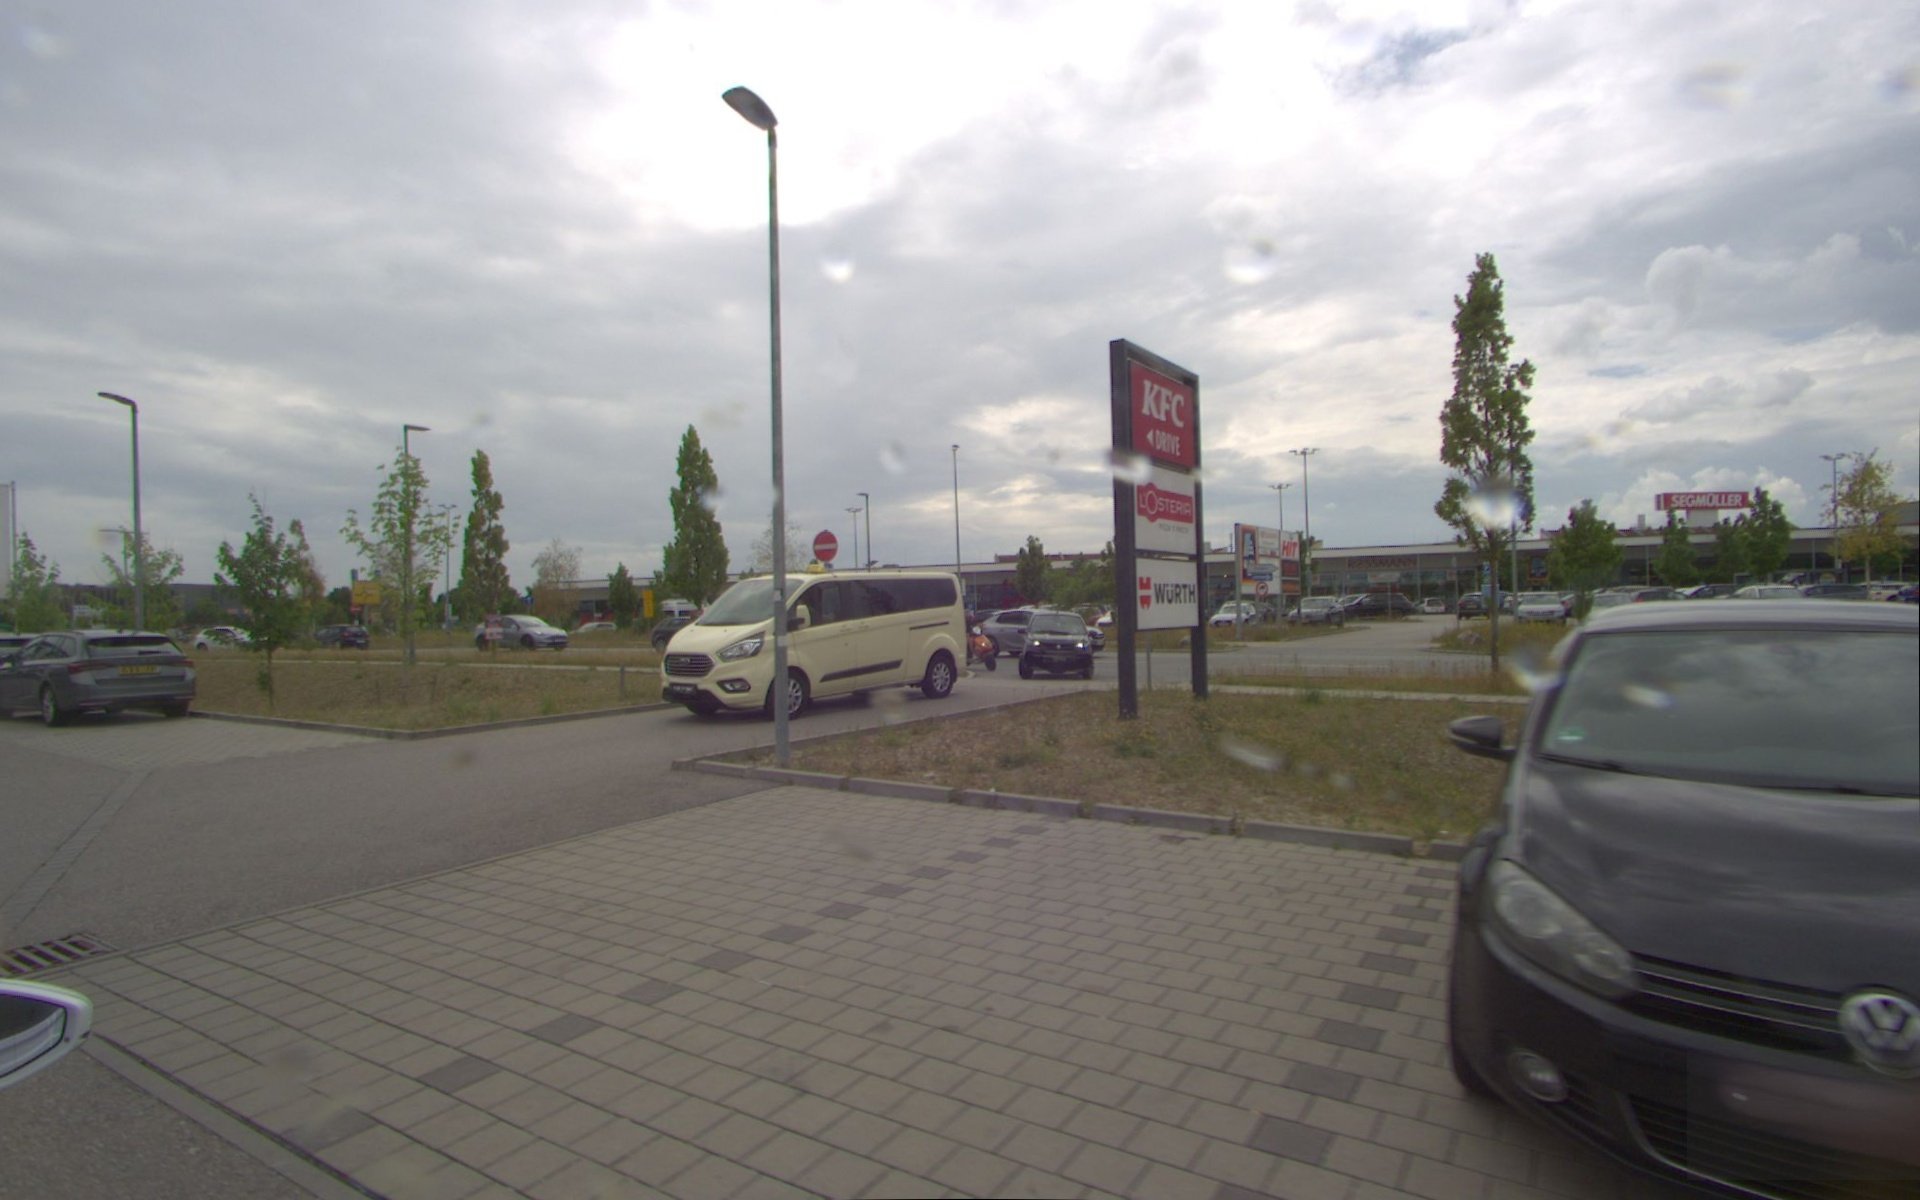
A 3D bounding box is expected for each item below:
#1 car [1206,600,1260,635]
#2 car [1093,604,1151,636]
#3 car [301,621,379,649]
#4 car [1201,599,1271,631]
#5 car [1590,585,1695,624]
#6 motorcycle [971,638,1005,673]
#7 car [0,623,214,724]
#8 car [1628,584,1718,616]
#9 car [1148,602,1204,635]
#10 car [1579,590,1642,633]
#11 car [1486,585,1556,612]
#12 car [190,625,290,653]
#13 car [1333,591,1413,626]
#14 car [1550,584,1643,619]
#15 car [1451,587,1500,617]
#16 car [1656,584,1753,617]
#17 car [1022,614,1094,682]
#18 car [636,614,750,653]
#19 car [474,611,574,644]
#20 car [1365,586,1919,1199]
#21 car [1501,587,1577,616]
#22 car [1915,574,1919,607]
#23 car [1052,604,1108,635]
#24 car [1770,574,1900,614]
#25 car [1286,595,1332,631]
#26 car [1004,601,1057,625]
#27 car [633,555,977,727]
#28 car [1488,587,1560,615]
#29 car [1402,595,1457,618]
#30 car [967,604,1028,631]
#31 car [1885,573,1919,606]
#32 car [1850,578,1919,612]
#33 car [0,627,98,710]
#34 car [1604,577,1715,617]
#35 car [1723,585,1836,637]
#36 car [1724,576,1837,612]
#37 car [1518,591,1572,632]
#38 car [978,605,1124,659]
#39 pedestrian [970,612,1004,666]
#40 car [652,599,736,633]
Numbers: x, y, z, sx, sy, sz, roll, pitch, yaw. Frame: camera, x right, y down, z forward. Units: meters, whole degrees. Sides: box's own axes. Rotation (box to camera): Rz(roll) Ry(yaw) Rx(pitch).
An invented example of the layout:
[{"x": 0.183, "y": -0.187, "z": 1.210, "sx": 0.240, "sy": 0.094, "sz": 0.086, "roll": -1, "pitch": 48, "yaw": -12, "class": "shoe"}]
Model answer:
[{"x": 13.702, "y": 0.865, "z": 50.163, "sx": 1.968, "sy": 1.560, "sz": 4.040, "roll": -1, "pitch": 1, "yaw": 25, "class": "car"}, {"x": 8.706, "y": 1.038, "z": 53.599, "sx": 1.836, "sy": 1.521, "sz": 4.055, "roll": -1, "pitch": 1, "yaw": 29, "class": "car"}, {"x": -35.693, "y": 2.025, "z": 57.634, "sx": 4.353, "sy": 1.506, "sz": 1.921, "roll": -1, "pitch": 1, "yaw": 28, "class": "car"}, {"x": 17.241, "y": 0.954, "z": 62.456, "sx": 4.112, "sy": 1.862, "sz": 1.996, "roll": -1, "pitch": 1, "yaw": 18, "class": "car"}, {"x": 35.486, "y": 0.235, "z": 52.180, "sx": 4.112, "sy": 1.862, "sz": 1.996, "roll": -1, "pitch": 1, "yaw": 18, "class": "car"}, {"x": 0.688, "y": 1.383, "z": 25.407, "sx": 0.801, "sy": 0.783, "sz": 2.027, "roll": -2, "pitch": -1, "yaw": 0, "class": "motorcycle"}, {"x": -14.483, "y": 1.159, "z": 16.768, "sx": 4.413, "sy": 1.488, "sz": 1.748, "roll": -2, "pitch": -1, "yaw": 33, "class": "car"}, {"x": 44.403, "y": 0.002, "z": 62.438, "sx": 4.112, "sy": 1.862, "sz": 1.996, "roll": -1, "pitch": 1, "yaw": 18, "class": "car"}, {"x": 11.191, "y": 0.931, "z": 51.662, "sx": 1.968, "sy": 1.560, "sz": 4.040, "roll": -1, "pitch": 1, "yaw": 25, "class": "car"}, {"x": 26.357, "y": 0.431, "z": 40.682, "sx": 1.744, "sy": 1.560, "sz": 4.037, "roll": -1, "pitch": 1, "yaw": 28, "class": "car"}, {"x": 41.096, "y": -0.136, "z": 73.419, "sx": 4.112, "sy": 1.862, "sz": 1.996, "roll": -1, "pitch": 1, "yaw": 18, "class": "car"}, {"x": -37.949, "y": 2.054, "z": 52.812, "sx": 4.473, "sy": 1.413, "sz": 1.767, "roll": -1, "pitch": 0, "yaw": 13, "class": "car"}, {"x": 23.826, "y": 0.475, "z": 57.887, "sx": 4.112, "sy": 1.862, "sz": 1.996, "roll": -1, "pitch": 1, "yaw": 18, "class": "car"}, {"x": 36.386, "y": 0.078, "z": 57.370, "sx": 4.112, "sy": 1.862, "sz": 1.996, "roll": -1, "pitch": 1, "yaw": 18, "class": "car"}, {"x": 29.399, "y": 0.097, "z": 57.024, "sx": 1.973, "sy": 1.560, "sz": 4.133, "roll": -1, "pitch": 1, "yaw": 35, "class": "car"}, {"x": 43.342, "y": 0.027, "z": 58.379, "sx": 4.112, "sy": 1.863, "sz": 1.996, "roll": -1, "pitch": 1, "yaw": 18, "class": "car"}, {"x": 2.184, "y": 1.007, "z": 22.054, "sx": 1.438, "sy": 1.354, "sz": 3.162, "roll": -1, "pitch": 0, "yaw": 7, "class": "car"}, {"x": -10.212, "y": 1.274, "z": 38.270, "sx": 4.156, "sy": 1.413, "sz": 1.761, "roll": -1, "pitch": 0, "yaw": 30, "class": "car"}, {"x": -19.654, "y": 1.260, "z": 45.111, "sx": 4.490, "sy": 1.413, "sz": 1.761, "roll": -1, "pitch": 0, "yaw": 30, "class": "car"}, {"x": 2.846, "y": 0.699, "z": 3.529, "sx": 1.752, "sy": 1.479, "sz": 4.048, "roll": 0, "pitch": 1, "yaw": 35, "class": "car"}, {"x": 39.247, "y": 0.115, "z": 68.011, "sx": 4.112, "sy": 1.862, "sz": 1.996, "roll": -1, "pitch": 1, "yaw": 18, "class": "car"}, {"x": 53.975, "y": -0.563, "z": 53.359, "sx": 3.928, "sy": 1.796, "sz": 1.996, "roll": -2, "pitch": 1, "yaw": 17, "class": "car"}, {"x": 6.656, "y": 1.048, "z": 55.332, "sx": 1.877, "sy": 1.560, "sz": 4.040, "roll": -1, "pitch": 1, "yaw": 25, "class": "car"}, {"x": 42.249, "y": -0.281, "z": 48.454, "sx": 4.242, "sy": 1.796, "sz": 1.997, "roll": -2, "pitch": 1, "yaw": 16, "class": "car"}, {"x": 16.774, "y": 0.613, "z": 48.035, "sx": 1.744, "sy": 1.560, "sz": 3.750, "roll": -1, "pitch": 1, "yaw": 25, "class": "car"}, {"x": 5.986, "y": 1.106, "z": 84.737, "sx": 4.113, "sy": 1.862, "sz": 1.995, "roll": -1, "pitch": 1, "yaw": 19, "class": "car"}, {"x": -2.073, "y": 0.502, "z": 15.038, "sx": 1.975, "sy": 2.114, "sz": 5.193, "roll": 0, "pitch": 0, "yaw": 37, "class": "car"}, {"x": 40.051, "y": 0.059, "z": 71.228, "sx": 4.112, "sy": 1.862, "sz": 1.996, "roll": -1, "pitch": 1, "yaw": 18, "class": "car"}, {"x": 40.699, "y": 0.567, "z": 86.919, "sx": 4.112, "sy": 1.862, "sz": 1.996, "roll": -1, "pitch": 1, "yaw": 18, "class": "car"}, {"x": 2.766, "y": 1.311, "z": 74.029, "sx": 4.112, "sy": 1.862, "sz": 1.996, "roll": -1, "pitch": 1, "yaw": 18, "class": "car"}, {"x": 54.873, "y": -0.617, "z": 56.119, "sx": 3.928, "sy": 1.796, "sz": 1.996, "roll": -2, "pitch": 1, "yaw": 17, "class": "car"}, {"x": 55.502, "y": -0.317, "z": 58.975, "sx": 4.111, "sy": 1.862, "sz": 1.996, "roll": -1, "pitch": 1, "yaw": 18, "class": "car"}, {"x": -19.163, "y": 1.317, "z": 19.898, "sx": 4.409, "sy": 1.488, "sz": 1.749, "roll": -1, "pitch": -1, "yaw": 30, "class": "car"}, {"x": 34.659, "y": -0.153, "z": 49.750, "sx": 4.112, "sy": 1.862, "sz": 1.996, "roll": -1, "pitch": 1, "yaw": 18, "class": "car"}, {"x": 31.062, "y": 0.379, "z": 38.106, "sx": 1.965, "sy": 1.795, "sz": 4.310, "roll": -1, "pitch": 1, "yaw": 20, "class": "car"}, {"x": 43.835, "y": -0.310, "z": 53.600, "sx": 4.243, "sy": 1.796, "sz": 1.996, "roll": -2, "pitch": 1, "yaw": 17, "class": "car"}, {"x": 24.613, "y": 0.473, "z": 42.253, "sx": 1.744, "sy": 1.560, "sz": 4.037, "roll": -1, "pitch": 1, "yaw": 28, "class": "car"}, {"x": 2.703, "y": 0.942, "z": 30.027, "sx": 3.946, "sy": 1.479, "sz": 1.818, "roll": -1, "pitch": 1, "yaw": 35, "class": "car"}, {"x": 0.683, "y": 0.987, "z": 25.436, "sx": 0.791, "sy": 1.299, "sz": 0.898, "roll": -2, "pitch": 1, "yaw": 0, "class": "pedestrian"}, {"x": -18.624, "y": 1.133, "z": 70.458, "sx": 2.308, "sy": 2.150, "sz": 5.562, "roll": -1, "pitch": 1, "yaw": 34, "class": "car"}]
